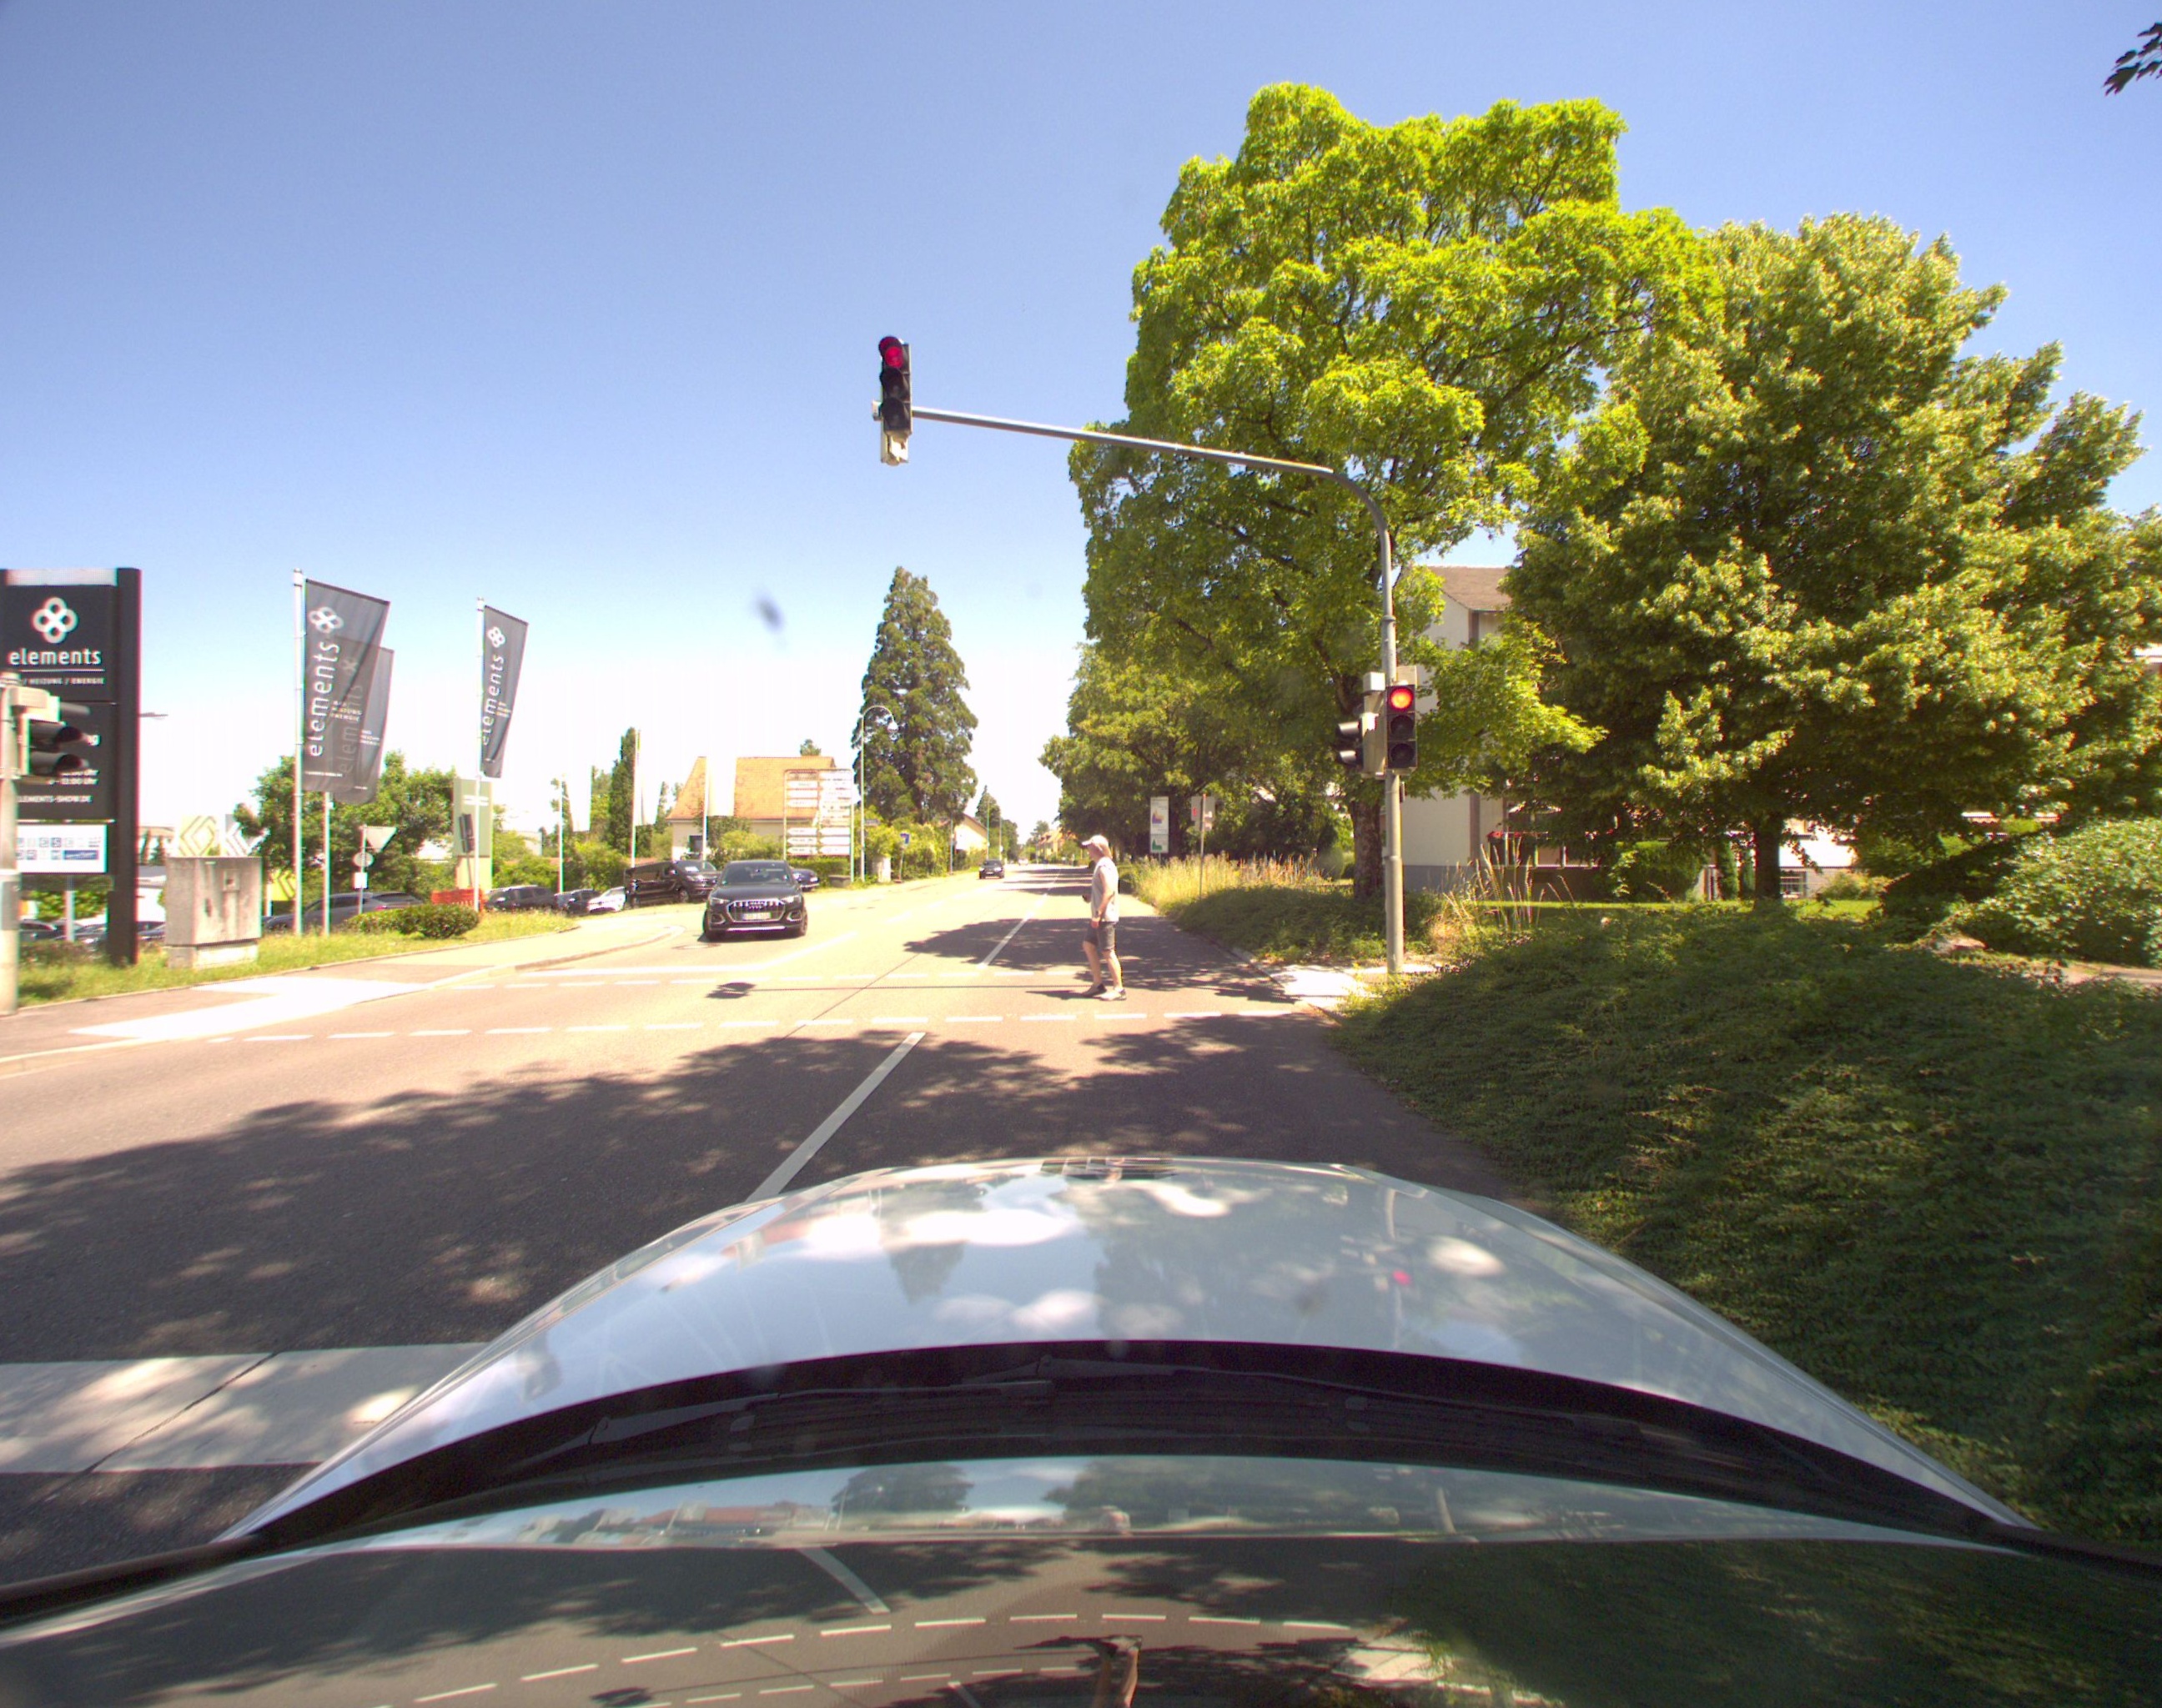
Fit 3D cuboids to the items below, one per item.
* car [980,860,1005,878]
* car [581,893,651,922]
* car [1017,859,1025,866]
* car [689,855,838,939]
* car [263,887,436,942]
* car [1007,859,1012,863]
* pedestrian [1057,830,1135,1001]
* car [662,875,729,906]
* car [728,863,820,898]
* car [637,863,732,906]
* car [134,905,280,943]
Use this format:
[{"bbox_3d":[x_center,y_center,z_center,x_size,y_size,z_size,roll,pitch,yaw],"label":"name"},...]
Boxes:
[{"bbox_3d":[-6.844,1.175,63.104,1.426,1.322,3.356,0,-1,2],"label":"car"},{"bbox_3d":[-23.167,2.657,40.676,1.743,1.226,3.240,0,0,-3],"label":"car"},{"bbox_3d":[-12.778,1.903,172.926,1.551,1.448,3.786,0,-1,-2],"label":"car"},{"bbox_3d":[-6.672,0.862,17.645,1.920,1.526,4.297,-2,-1,-7],"label":"car"},{"bbox_3d":[-24.862,2.036,27.772,4.277,1.718,1.887,-1,0,3],"label":"car"},{"bbox_3d":[-22.060,2.187,250.844,1.456,1.435,3.181,0,-1,-2],"label":"car"},{"bbox_3d":[0.163,0.633,8.730,0.607,1.751,0.565,-1,-1,40],"label":"pedestrian"},{"bbox_3d":[-19.131,1.810,40.511,2.646,1.427,1.345,-1,0,-1],"label":"car"},{"bbox_3d":[-13.619,1.149,36.280,3.486,1.427,1.597,-1,0,-6],"label":"car"},{"bbox_3d":[-16.209,1.231,33.416,3.144,1.714,1.569,0,-1,-9],"label":"car"},{"bbox_3d":[-35.137,2.799,32.809,3.973,1.413,1.756,0,-1,0],"label":"car"}]
